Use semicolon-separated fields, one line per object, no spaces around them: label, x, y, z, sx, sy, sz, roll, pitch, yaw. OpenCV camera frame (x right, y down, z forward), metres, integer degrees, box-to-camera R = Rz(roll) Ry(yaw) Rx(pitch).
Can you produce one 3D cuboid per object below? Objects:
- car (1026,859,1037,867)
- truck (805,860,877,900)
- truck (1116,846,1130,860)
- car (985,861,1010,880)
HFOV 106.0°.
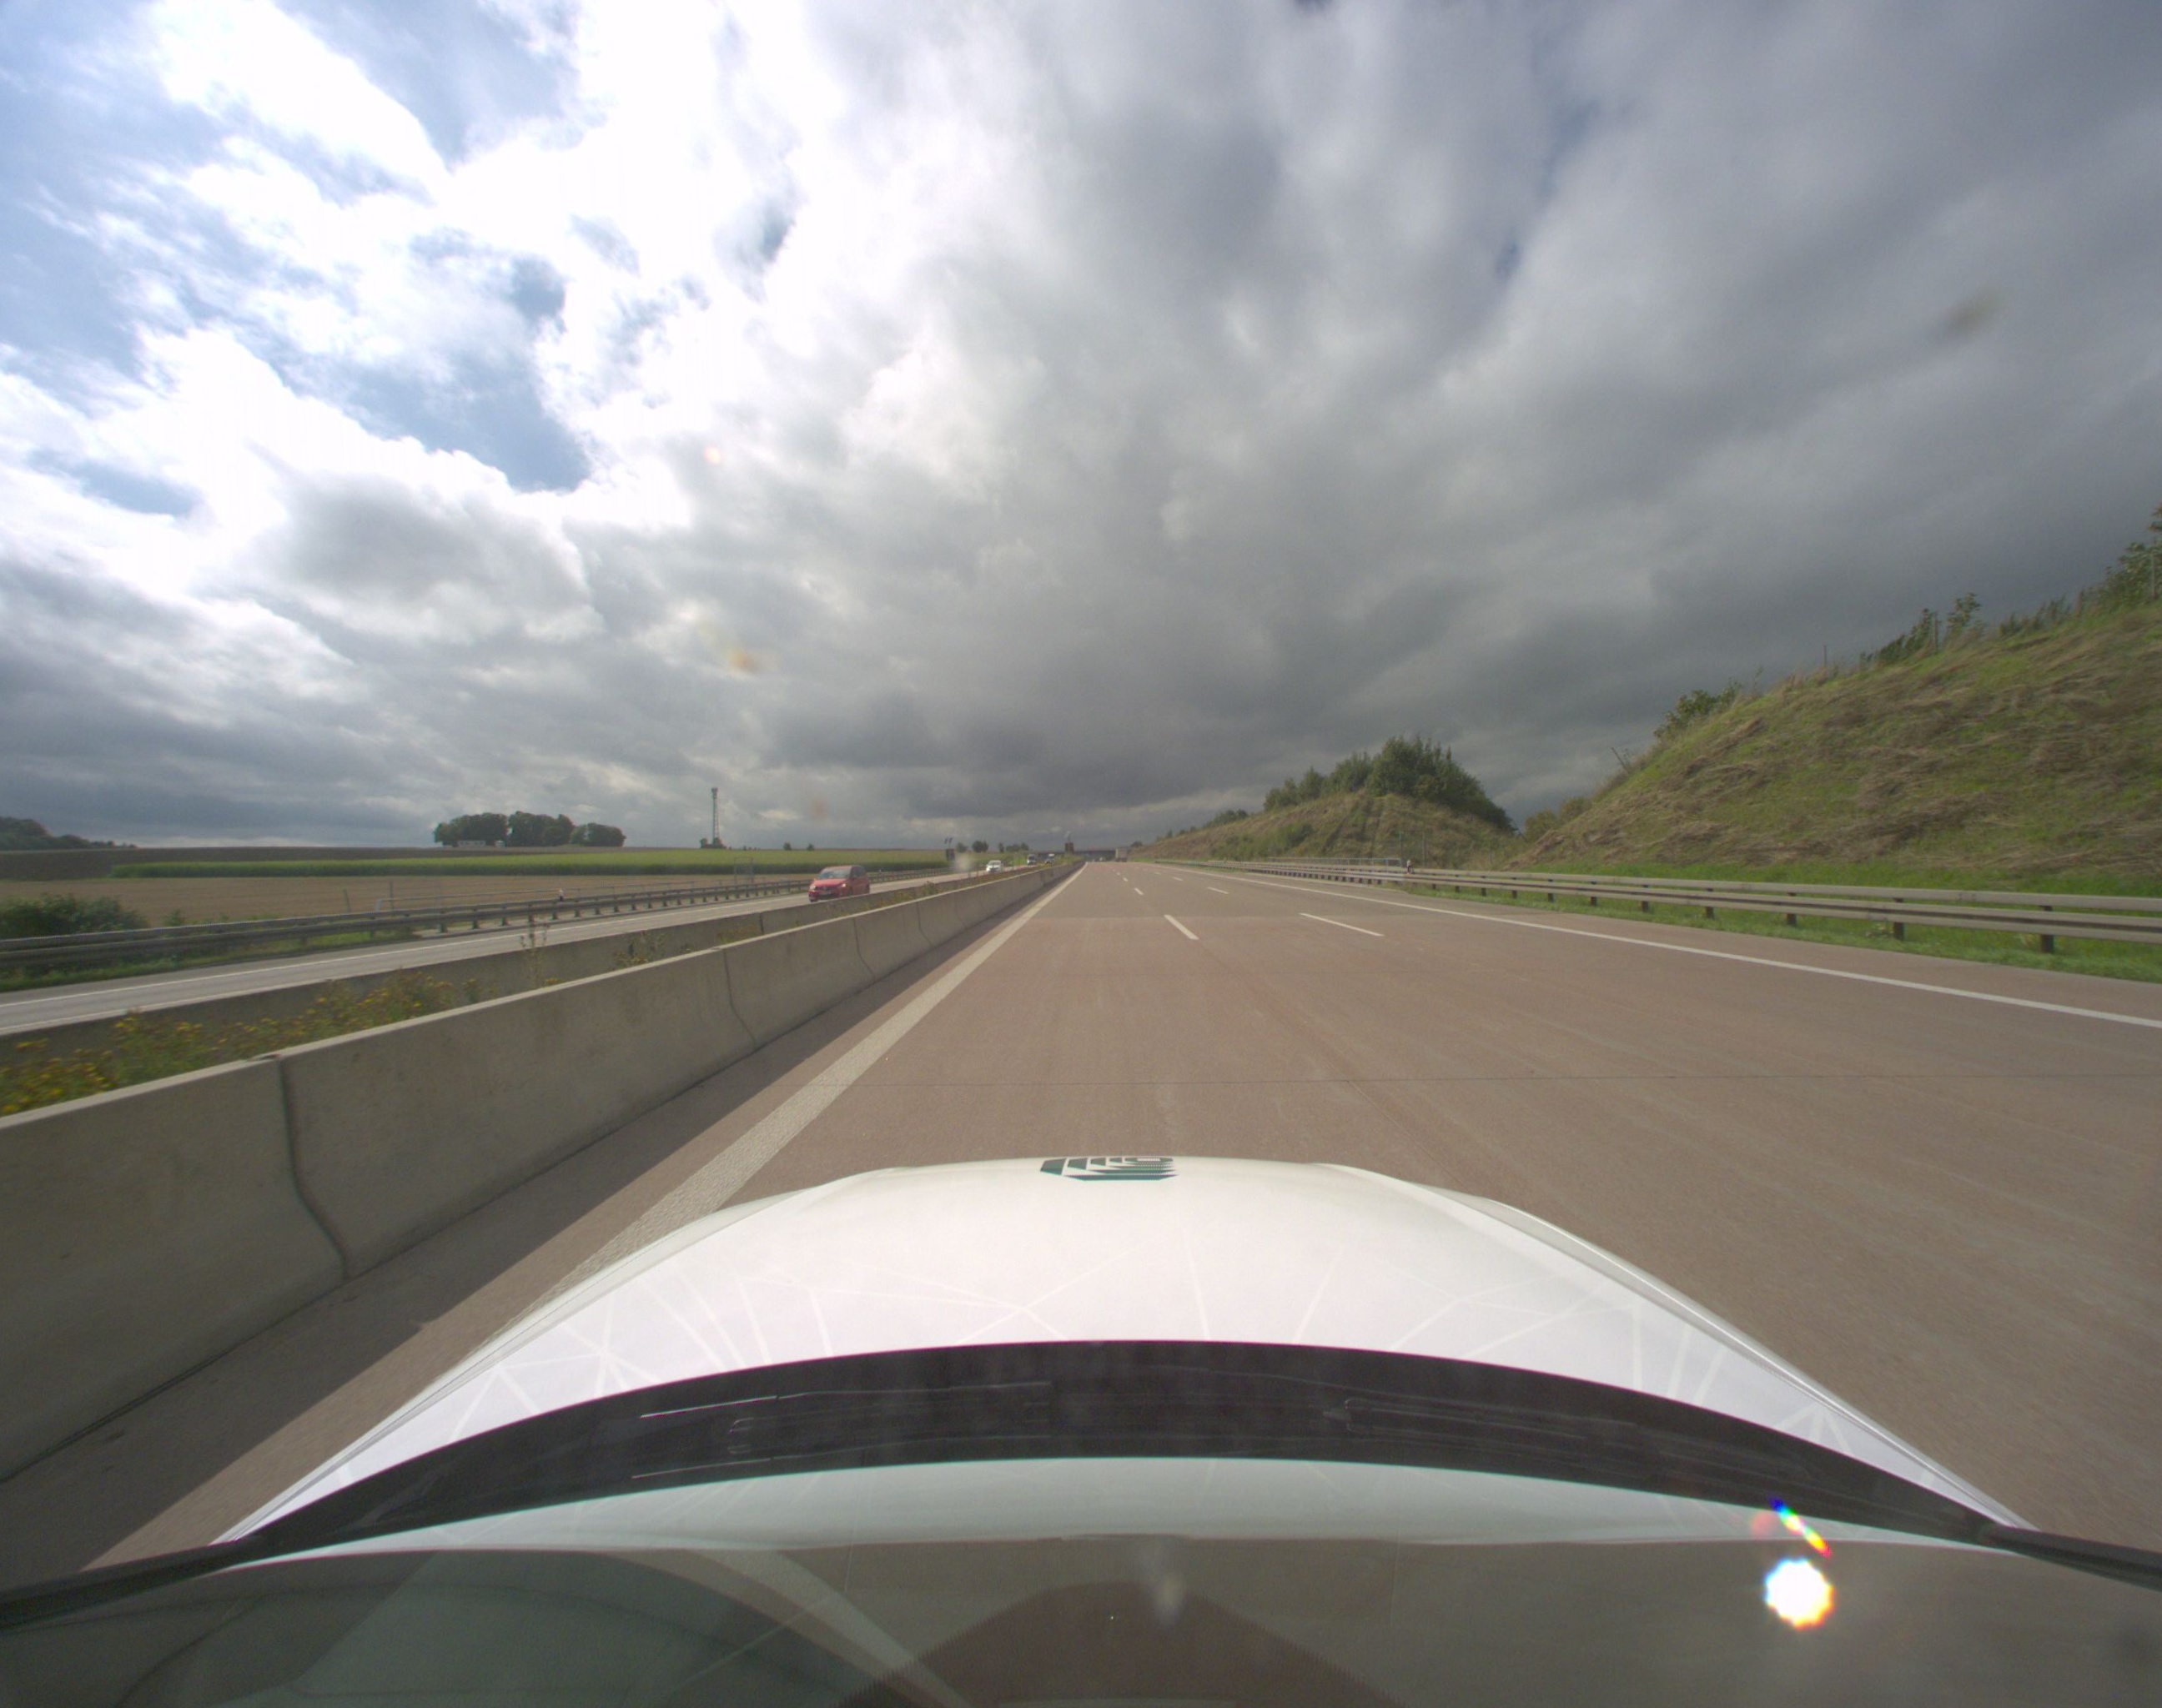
car;-11.992;2.213;199.076;2.049;1.913;5.706;-2;0;2
truck;-11.012;1.129;37.734;1.701;1.574;4.982;-4;0;1
truck;11.646;-0.349;227.228;3.603;3.945;11.179;0;0;2
car;-9.503;1.849;93.055;1.985;2.070;4.715;-2;0;3
